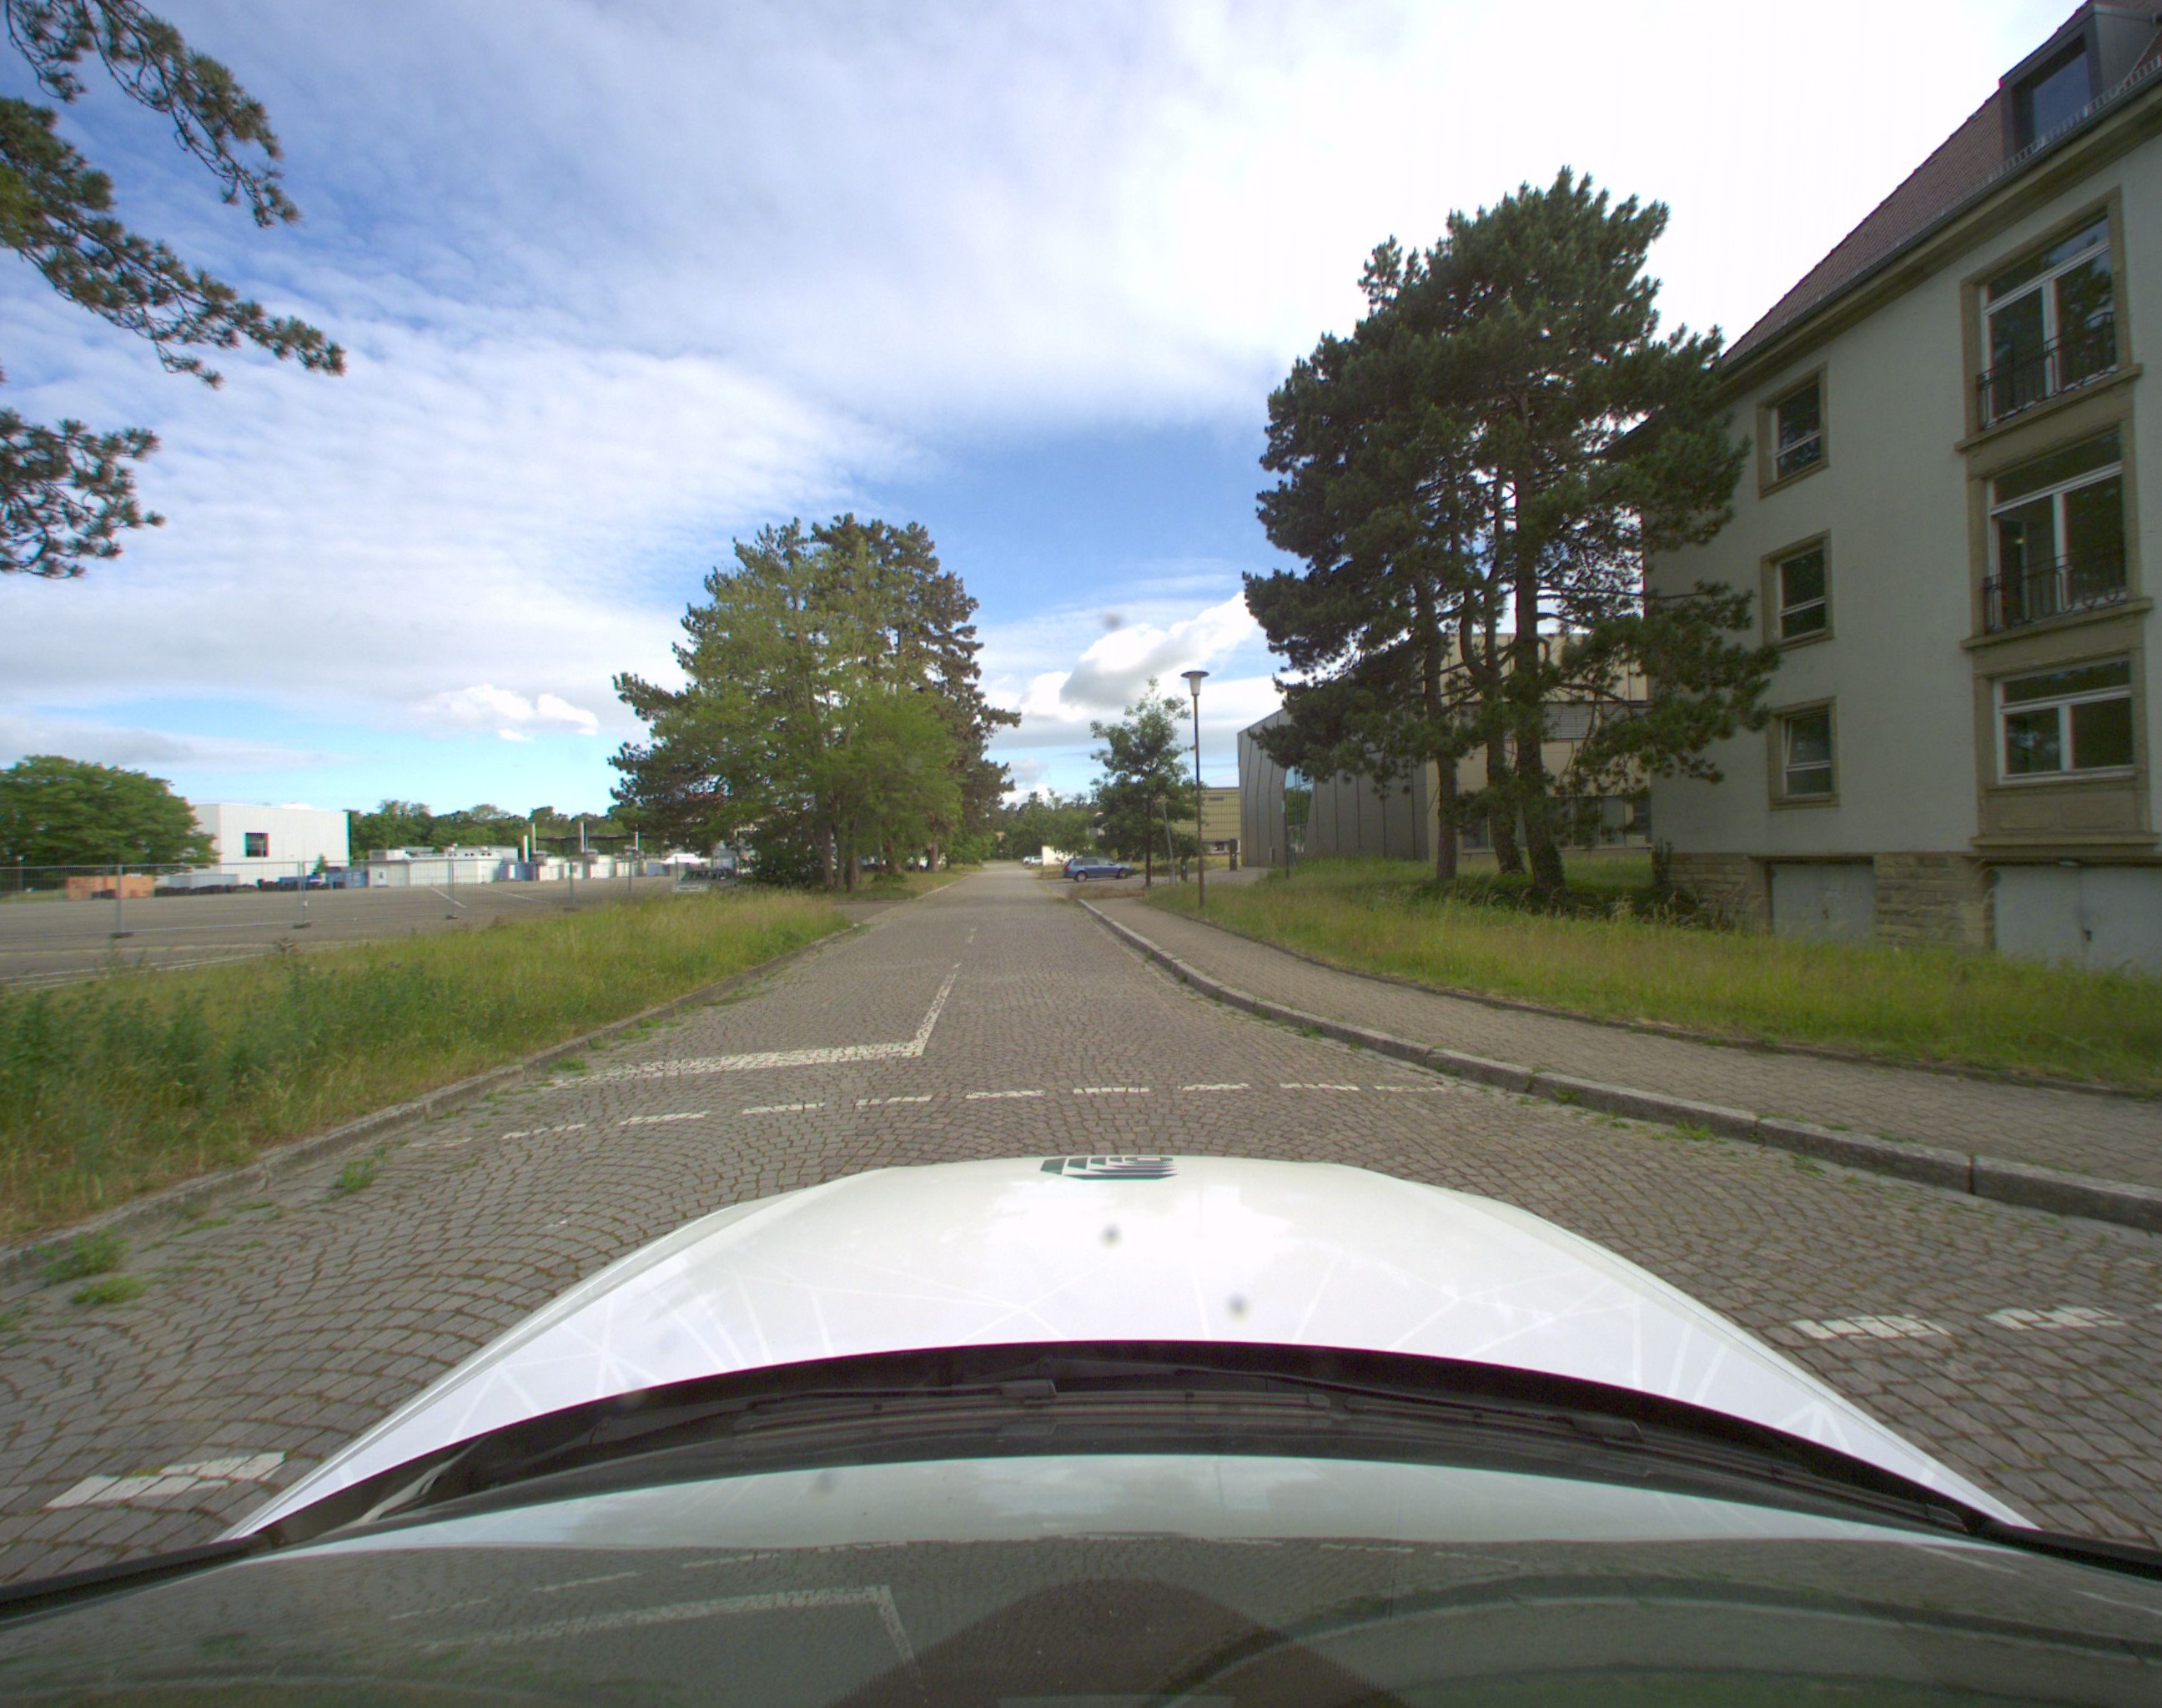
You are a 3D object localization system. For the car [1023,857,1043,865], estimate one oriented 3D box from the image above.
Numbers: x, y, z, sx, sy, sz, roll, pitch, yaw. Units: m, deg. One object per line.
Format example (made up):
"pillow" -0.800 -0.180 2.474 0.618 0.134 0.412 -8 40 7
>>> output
"car" -10.001 1.450 170.158 4.018 1.502 1.545 -2 0 -5

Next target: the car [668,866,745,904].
"car" -15.925 1.259 34.903 1.714 1.438 4.455 -2 0 -8

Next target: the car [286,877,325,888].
"car" -114.369 4.226 120.112 3.963 1.533 1.626 -2 0 -8

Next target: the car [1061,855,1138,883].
"car" 1.159 0.920 51.207 4.521 1.443 1.818 -4 0 -9

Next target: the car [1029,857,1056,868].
"car" -5.899 1.288 124.273 3.847 1.654 1.681 -2 0 -8
